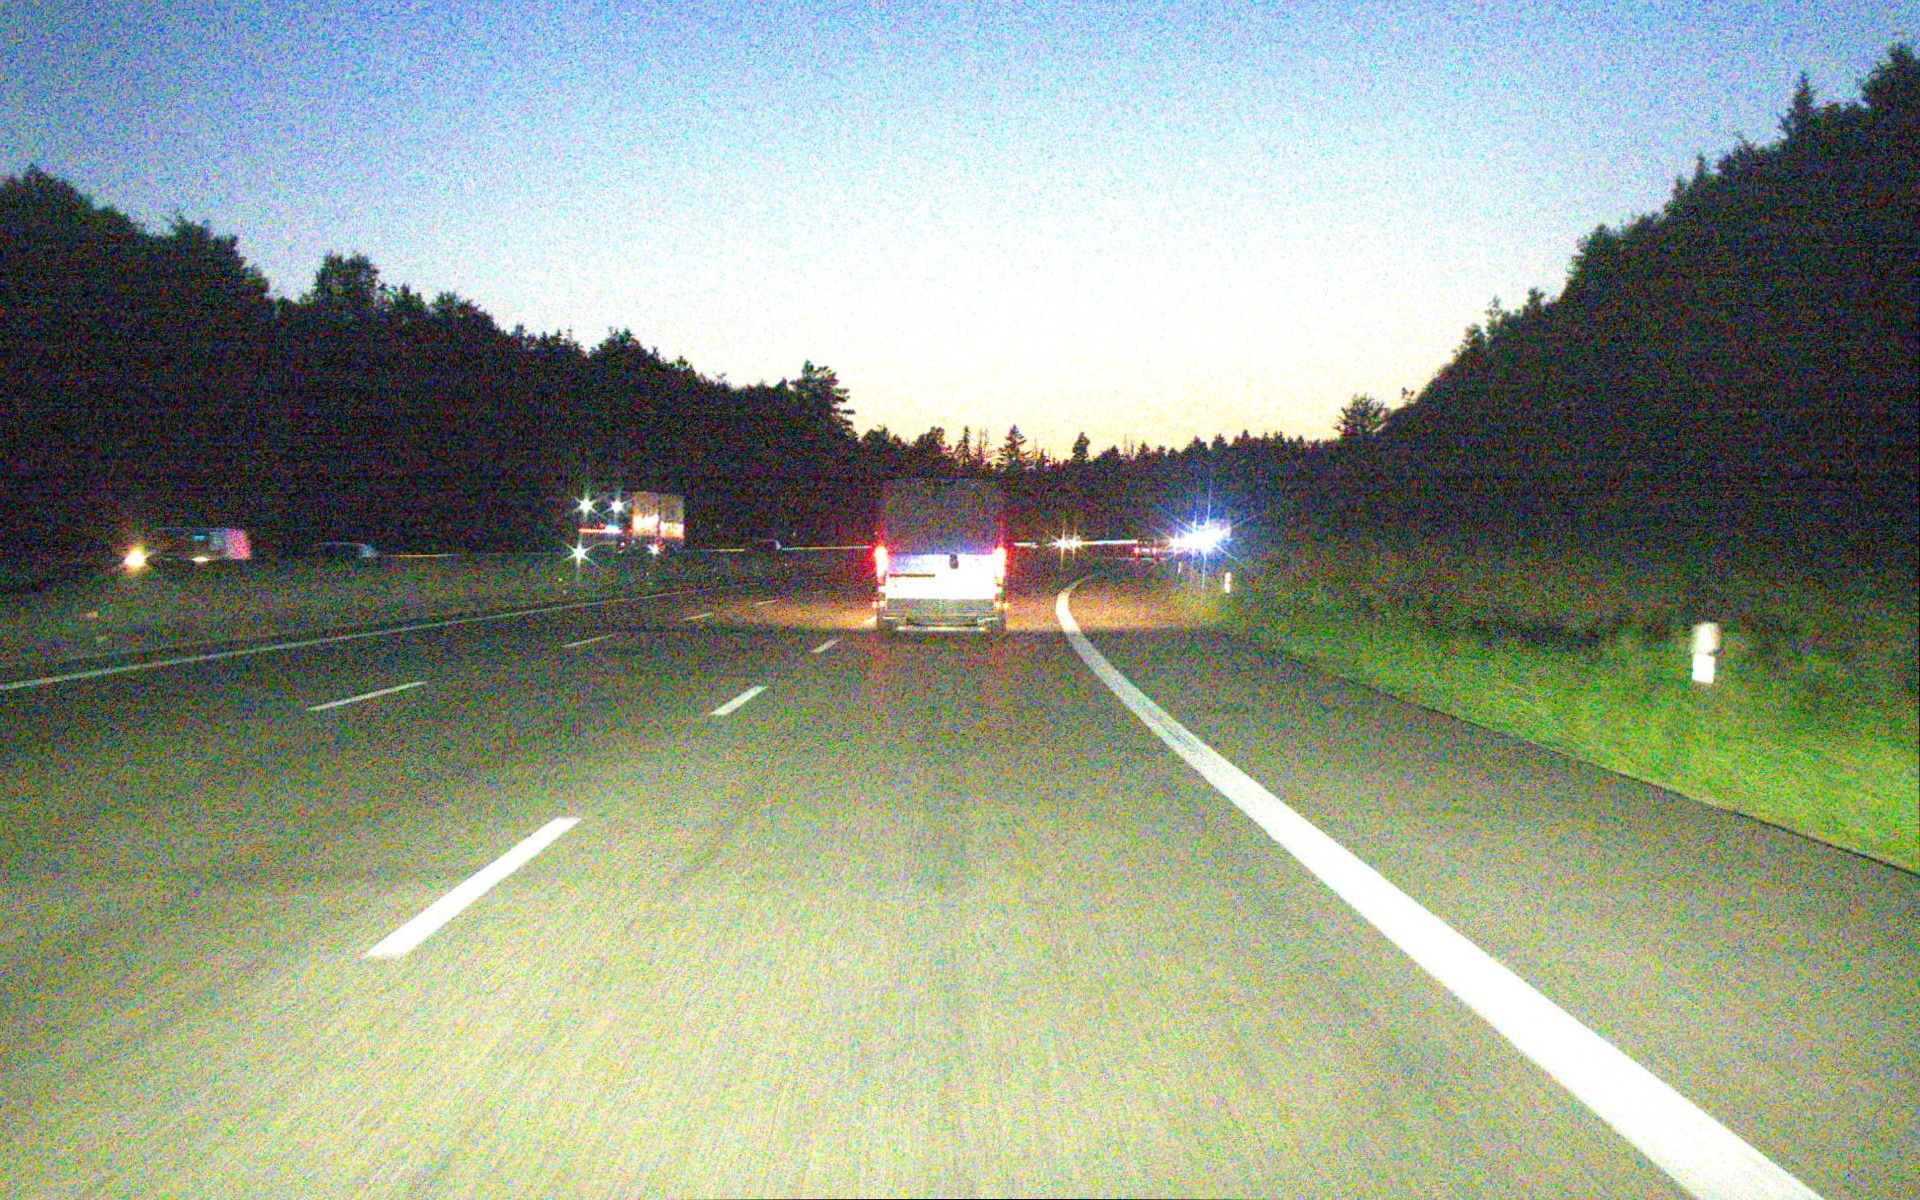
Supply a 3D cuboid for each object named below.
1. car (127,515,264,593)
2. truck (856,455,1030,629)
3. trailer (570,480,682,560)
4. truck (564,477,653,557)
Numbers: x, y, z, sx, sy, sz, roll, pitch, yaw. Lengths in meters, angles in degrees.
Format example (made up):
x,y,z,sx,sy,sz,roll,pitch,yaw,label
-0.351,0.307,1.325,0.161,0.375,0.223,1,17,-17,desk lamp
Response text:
x,y,z,sx,sy,sz,roll,pitch,yaw,label
-18.533,-1.103,83.589,1.993,1.815,5.687,0,1,1,car
-0.367,-0.921,56.488,2.630,2.615,8.685,0,1,-1,truck
-17.525,-4.158,182.072,3.543,3.986,17.282,0,1,2,trailer
-17.837,-4.181,174.877,3.502,3.956,6.699,0,1,3,truck
